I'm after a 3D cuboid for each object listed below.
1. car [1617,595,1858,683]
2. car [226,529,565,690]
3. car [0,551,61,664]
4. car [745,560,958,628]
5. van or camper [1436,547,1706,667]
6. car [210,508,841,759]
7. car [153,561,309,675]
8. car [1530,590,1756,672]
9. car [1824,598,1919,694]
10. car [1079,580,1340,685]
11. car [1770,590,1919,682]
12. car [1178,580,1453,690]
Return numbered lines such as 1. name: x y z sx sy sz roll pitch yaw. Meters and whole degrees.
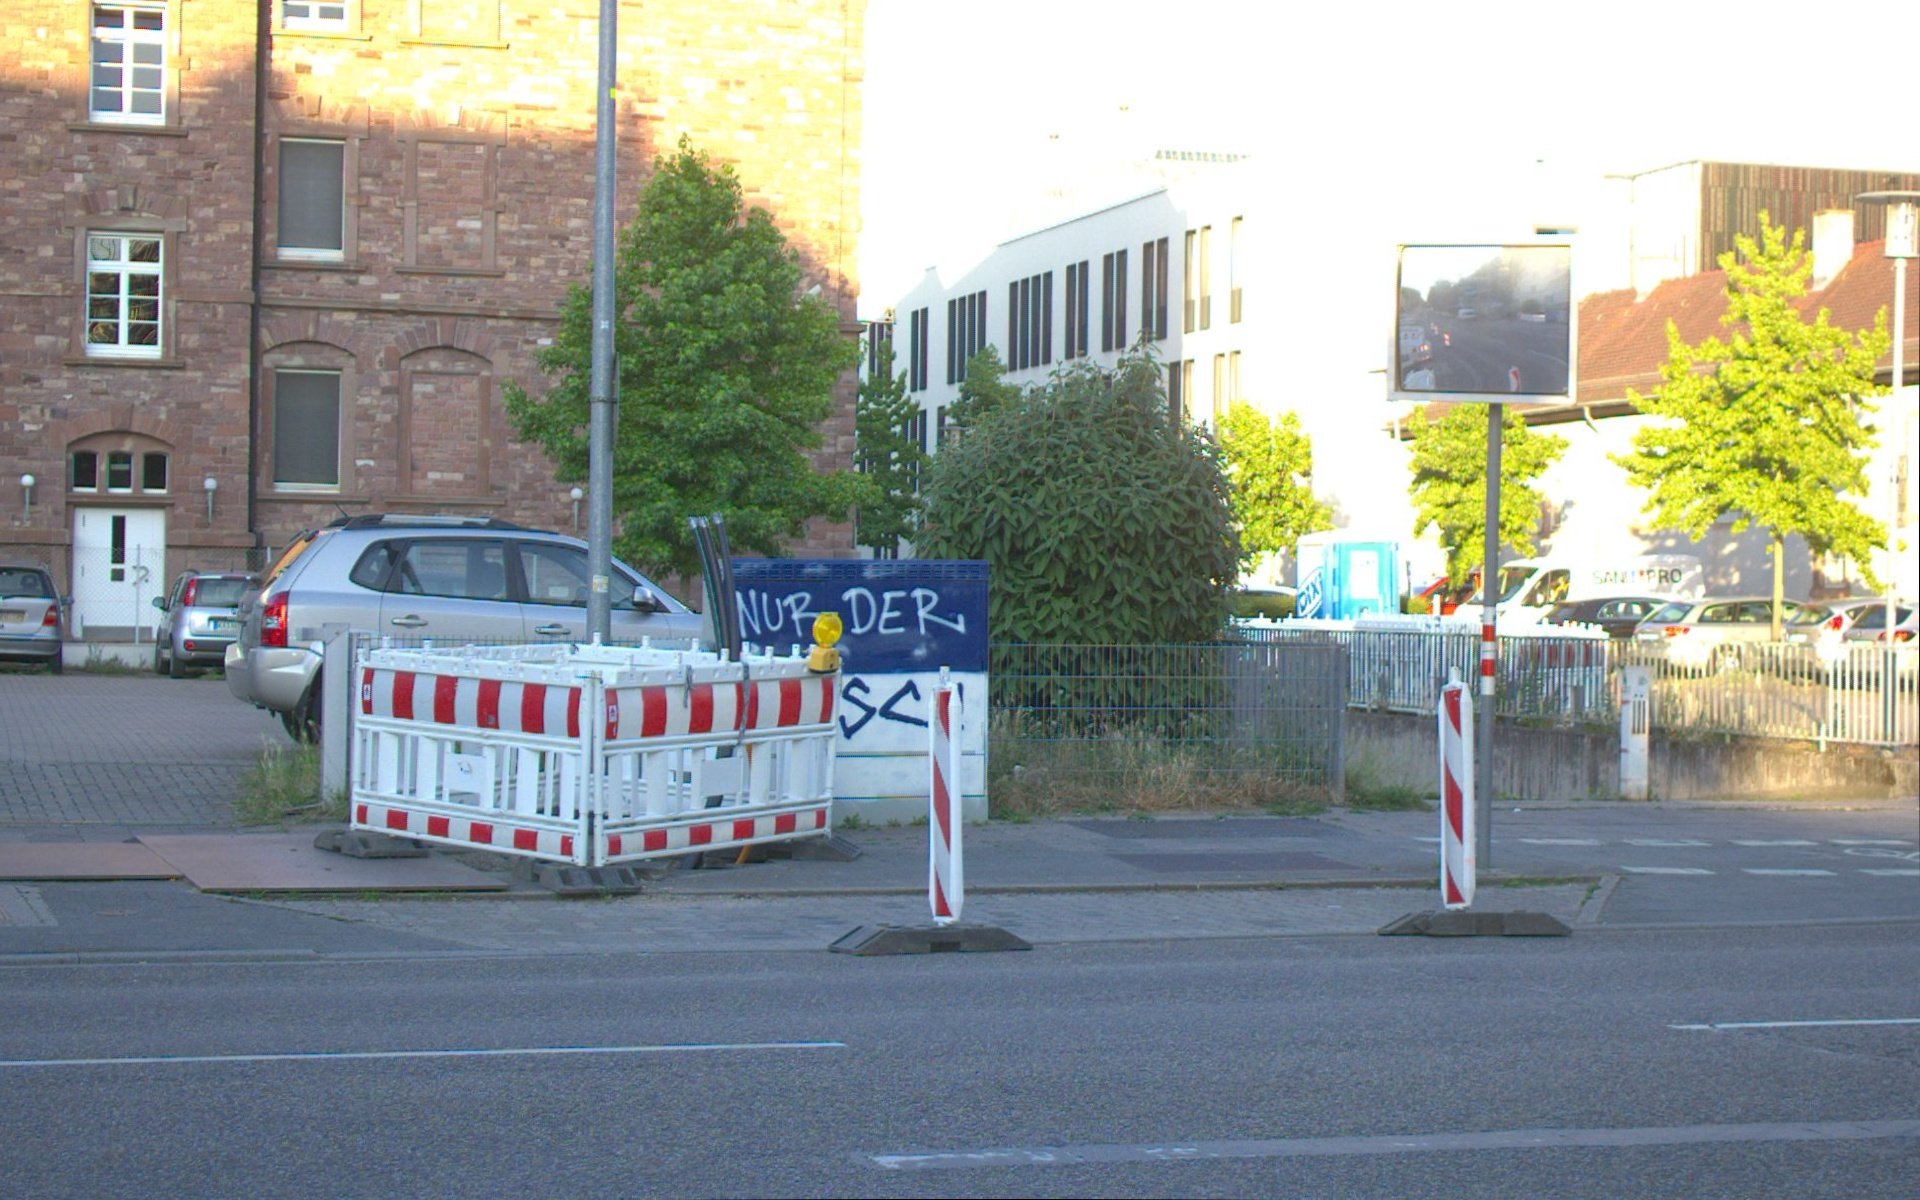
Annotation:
1. car: 13.488 0.675 59.666 3.739 1.440 1.687 1 0 -19
2. car: -6.235 0.108 37.868 3.474 1.703 1.668 1 0 -17
3. car: -13.702 0.068 48.483 1.896 1.532 4.180 1 0 -16
4. car: -2.229 -0.123 70.332 3.986 1.308 1.878 1 0 -17
5. van or camper: 11.918 0.138 67.034 4.961 2.233 1.687 1 0 -19
6. car: -3.155 0.238 24.815 4.268 1.703 1.703 1 0 -17
7. car: -10.500 0.233 49.329 1.896 1.532 4.180 1 0 -16
8. car: 12.652 0.570 63.687 3.739 1.440 1.687 1 0 -19
9. car: 15.530 0.724 53.459 3.739 1.440 1.687 1 0 -19
10. car: 3.950 0.517 54.543 3.739 1.597 1.687 1 0 -19
11. car: 15.289 0.599 55.985 3.739 1.440 1.687 1 0 -19
12. car: 5.359 0.520 51.833 3.739 1.597 1.687 1 0 -19
